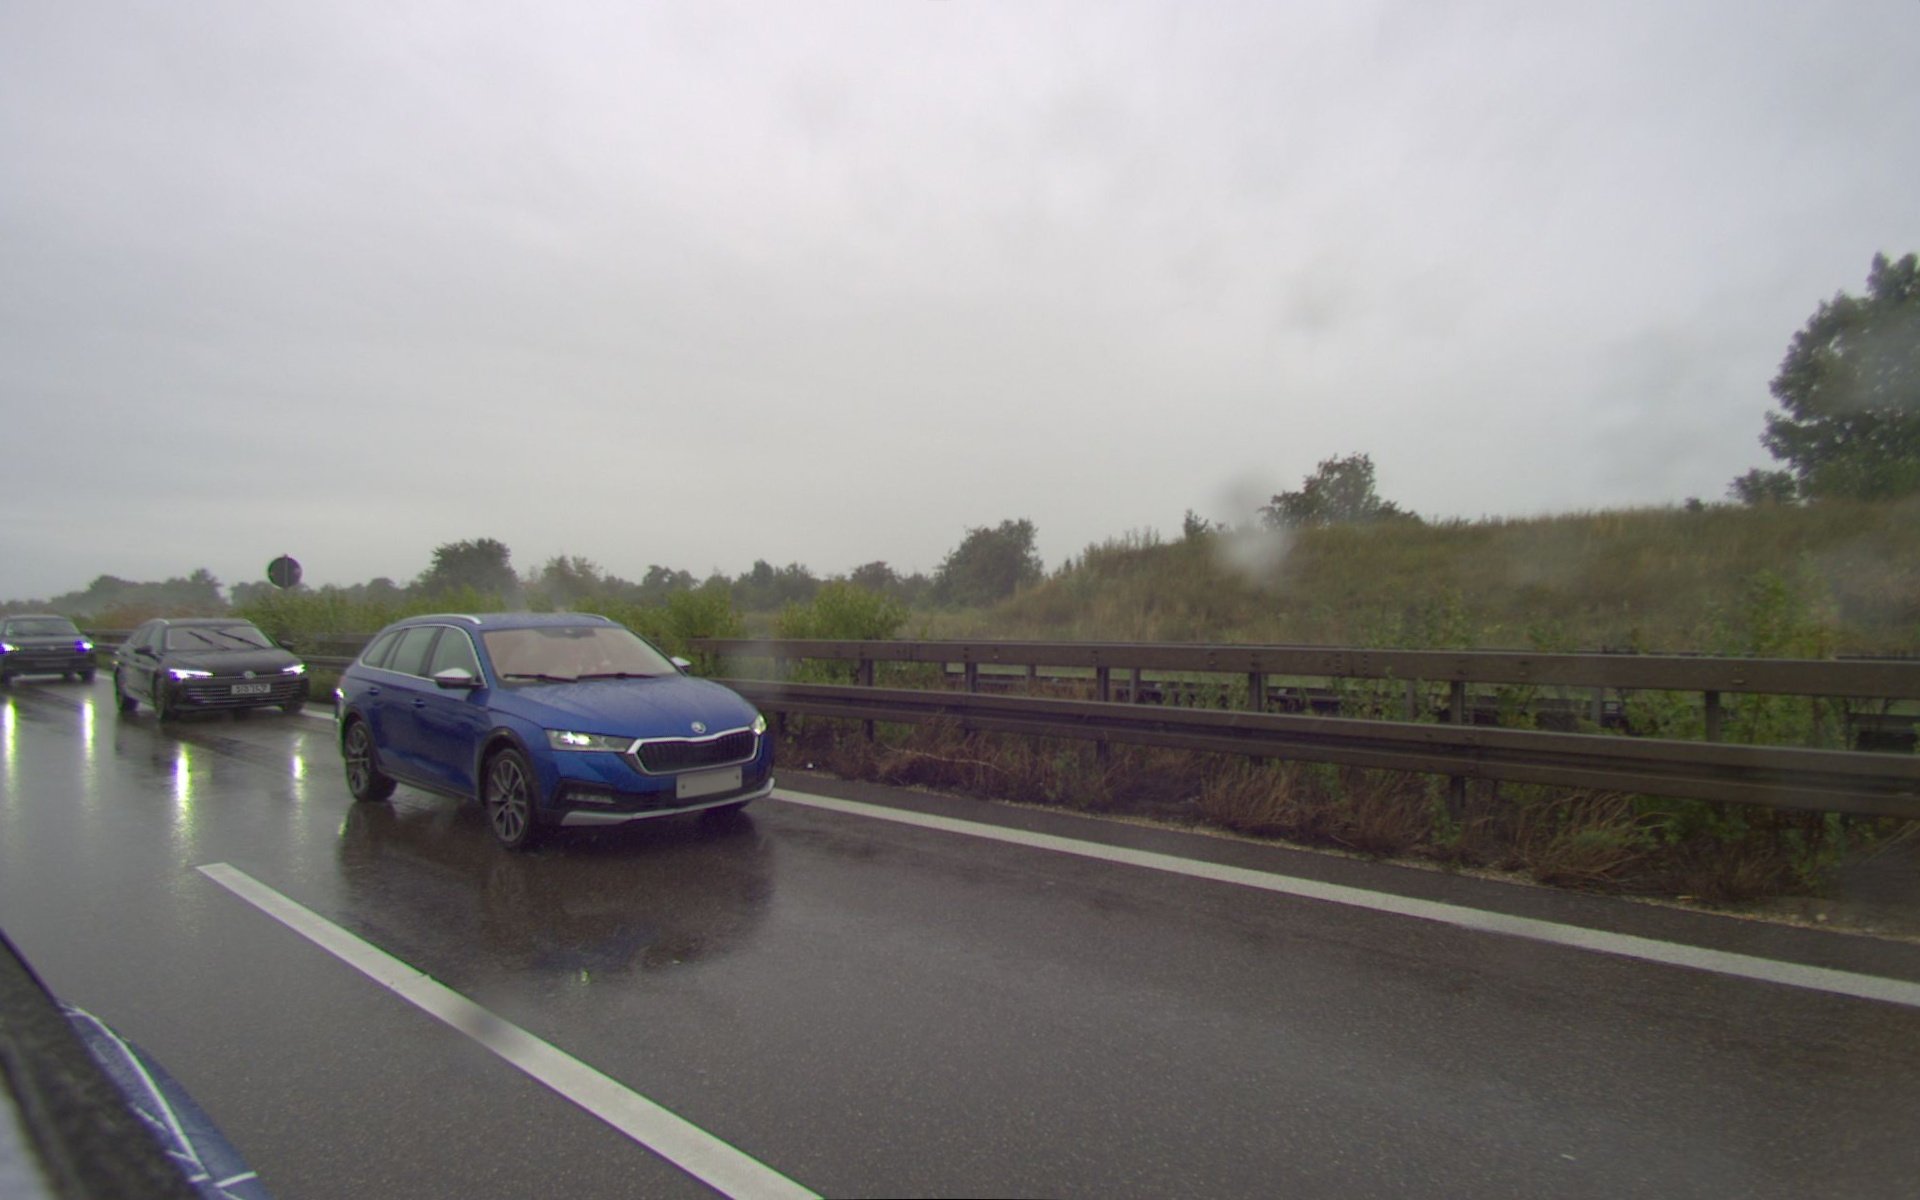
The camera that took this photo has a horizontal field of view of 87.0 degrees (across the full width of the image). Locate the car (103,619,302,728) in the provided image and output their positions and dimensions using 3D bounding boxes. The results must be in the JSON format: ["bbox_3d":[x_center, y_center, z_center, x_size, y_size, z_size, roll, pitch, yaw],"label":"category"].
[{"bbox_3d":[-11.884,1.050,15.764,4.368,1.447,1.592,-2,-1,41],"label":"car"}]

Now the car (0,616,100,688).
[{"bbox_3d":[-23.195,1.249,25.351,4.266,1.644,1.865,-1,-1,40],"label":"car"}]

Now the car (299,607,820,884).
[{"bbox_3d":[-3.219,0.832,7.611,4.509,1.487,1.768,-2,-1,41],"label":"car"}]
